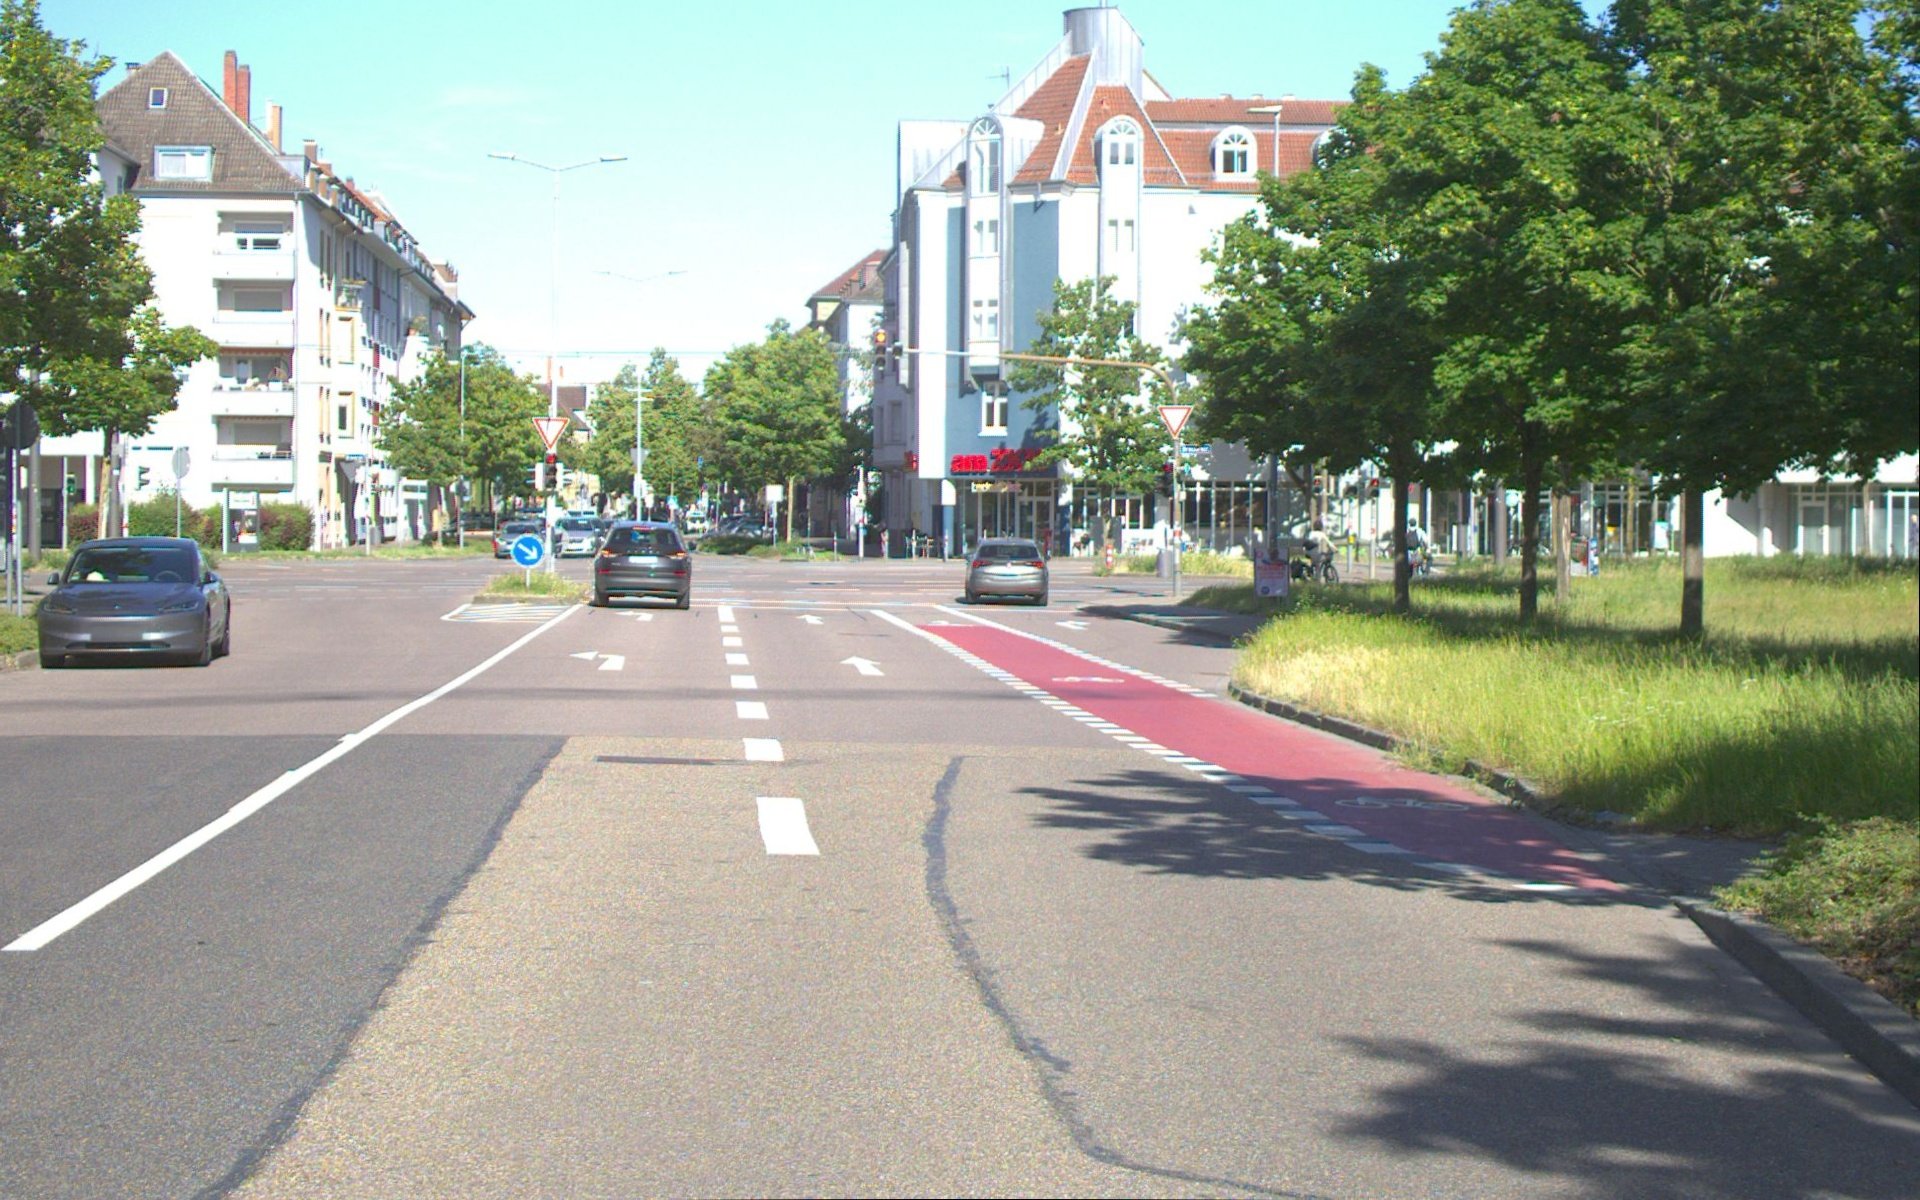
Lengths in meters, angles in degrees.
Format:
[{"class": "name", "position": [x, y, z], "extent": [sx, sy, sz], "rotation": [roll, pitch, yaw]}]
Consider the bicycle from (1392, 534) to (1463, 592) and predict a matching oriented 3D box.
[{"class": "bicycle", "position": [11.211, -0.899, 82.443], "extent": [0.792, 1.343, 2.258], "rotation": [1, 2, 33]}]

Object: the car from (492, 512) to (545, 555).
[{"class": "car", "position": [-17.275, -2.611, 134.642], "extent": [1.753, 1.550, 3.731], "rotation": [3, 1, -3]}]

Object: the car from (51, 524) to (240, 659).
[{"class": "car", "position": [-9.407, -0.144, 39.992], "extent": [1.687, 1.463, 4.548], "rotation": [0, 1, -8]}]

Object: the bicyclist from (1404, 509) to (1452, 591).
[{"class": "bicyclist", "position": [11.230, -1.206, 82.471], "extent": [0.792, 1.952, 1.009], "rotation": [1, 2, 33]}]

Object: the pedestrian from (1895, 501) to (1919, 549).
[{"class": "pedestrian", "position": [34.516, -2.723, 124.678], "extent": [0.989, 1.717, 0.654], "rotation": [0, 1, -6]}]

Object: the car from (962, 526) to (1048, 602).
[{"class": "car", "position": [0.969, -0.817, 76.265], "extent": [1.688, 1.572, 3.872], "rotation": [3, 1, -1]}]

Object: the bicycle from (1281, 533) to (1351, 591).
[{"class": "bicycle", "position": [8.494, -0.909, 82.007], "extent": [0.792, 1.343, 2.075], "rotation": [1, 2, 33]}]

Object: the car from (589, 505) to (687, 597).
[{"class": "car", "position": [-6.189, -0.958, 66.303], "extent": [1.753, 1.622, 4.479], "rotation": [3, 1, -5]}]

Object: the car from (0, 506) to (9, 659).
[{"class": "car", "position": [-10.671, -0.174, 34.049], "extent": [1.688, 1.601, 4.312], "rotation": [3, 1, -7]}]

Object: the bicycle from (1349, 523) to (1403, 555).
[{"class": "bicycle", "position": [15.228, -2.244, 125.920], "extent": [1.863, 1.178, 0.562], "rotation": [0, 1, -9]}]

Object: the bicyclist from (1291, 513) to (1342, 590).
[{"class": "bicyclist", "position": [8.505, -1.157, 82.017], "extent": [0.792, 1.818, 1.133], "rotation": [1, 2, 33]}]

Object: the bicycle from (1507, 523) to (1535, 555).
[{"class": "bicycle", "position": [20.828, -2.258, 127.659], "extent": [0.560, 1.178, 1.870], "rotation": [0, 2, -6]}]
